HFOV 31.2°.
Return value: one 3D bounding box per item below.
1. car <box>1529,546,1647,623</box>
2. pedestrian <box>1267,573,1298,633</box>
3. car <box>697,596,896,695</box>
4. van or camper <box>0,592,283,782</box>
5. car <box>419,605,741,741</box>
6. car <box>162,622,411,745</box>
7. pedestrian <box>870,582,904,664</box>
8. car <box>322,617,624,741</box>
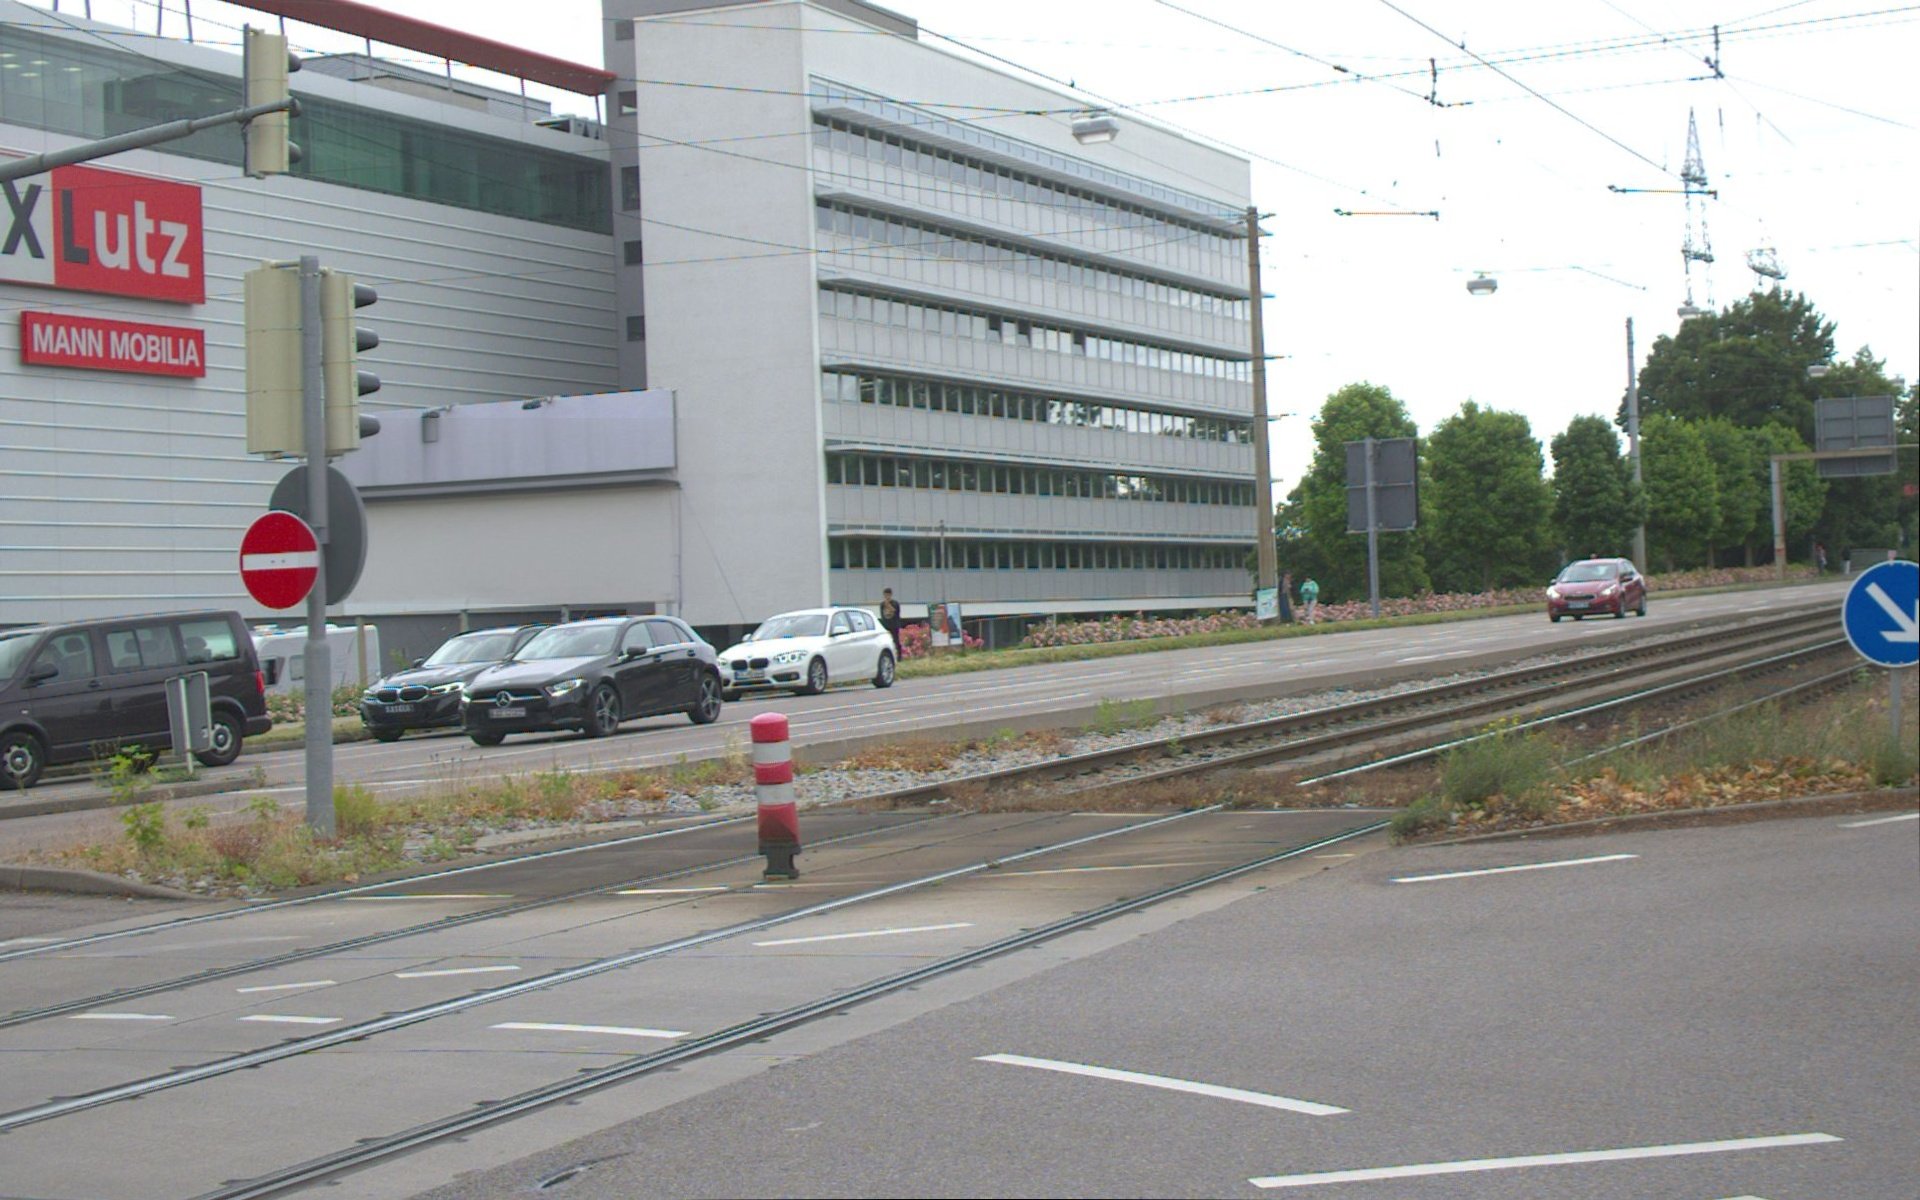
[{"bbox_3d":[15.338,-0.390,83.847,1.996,1.722,3.996,-3,0,22],"label":"car"},{"bbox_3d":[8.876,0.078,94.628,0.613,1.648,0.544,0,-1,-37],"label":"pedestrian"},{"bbox_3d":[-2.678,0.737,57.186,1.730,1.534,4.041,-1,0,23],"label":"car"},{"bbox_3d":[-10.860,1.096,41.785,2.121,2.007,4.743,-6,-1,39],"label":"van or camper"},{"bbox_3d":[-4.602,0.866,42.238,1.834,1.459,4.201,-1,1,28],"label":"car"},{"bbox_3d":[-17.159,2.075,88.111,2.763,2.979,6.942,-1,0,24],"label":"car"},{"bbox_3d":[-1.613,0.505,76.095,0.695,1.784,0.642,-1,0,2],"label":"pedestrian"},{"bbox_3d":[-6.760,1.084,48.150,1.965,1.459,4.315,-3,0,28],"label":"car"}]
